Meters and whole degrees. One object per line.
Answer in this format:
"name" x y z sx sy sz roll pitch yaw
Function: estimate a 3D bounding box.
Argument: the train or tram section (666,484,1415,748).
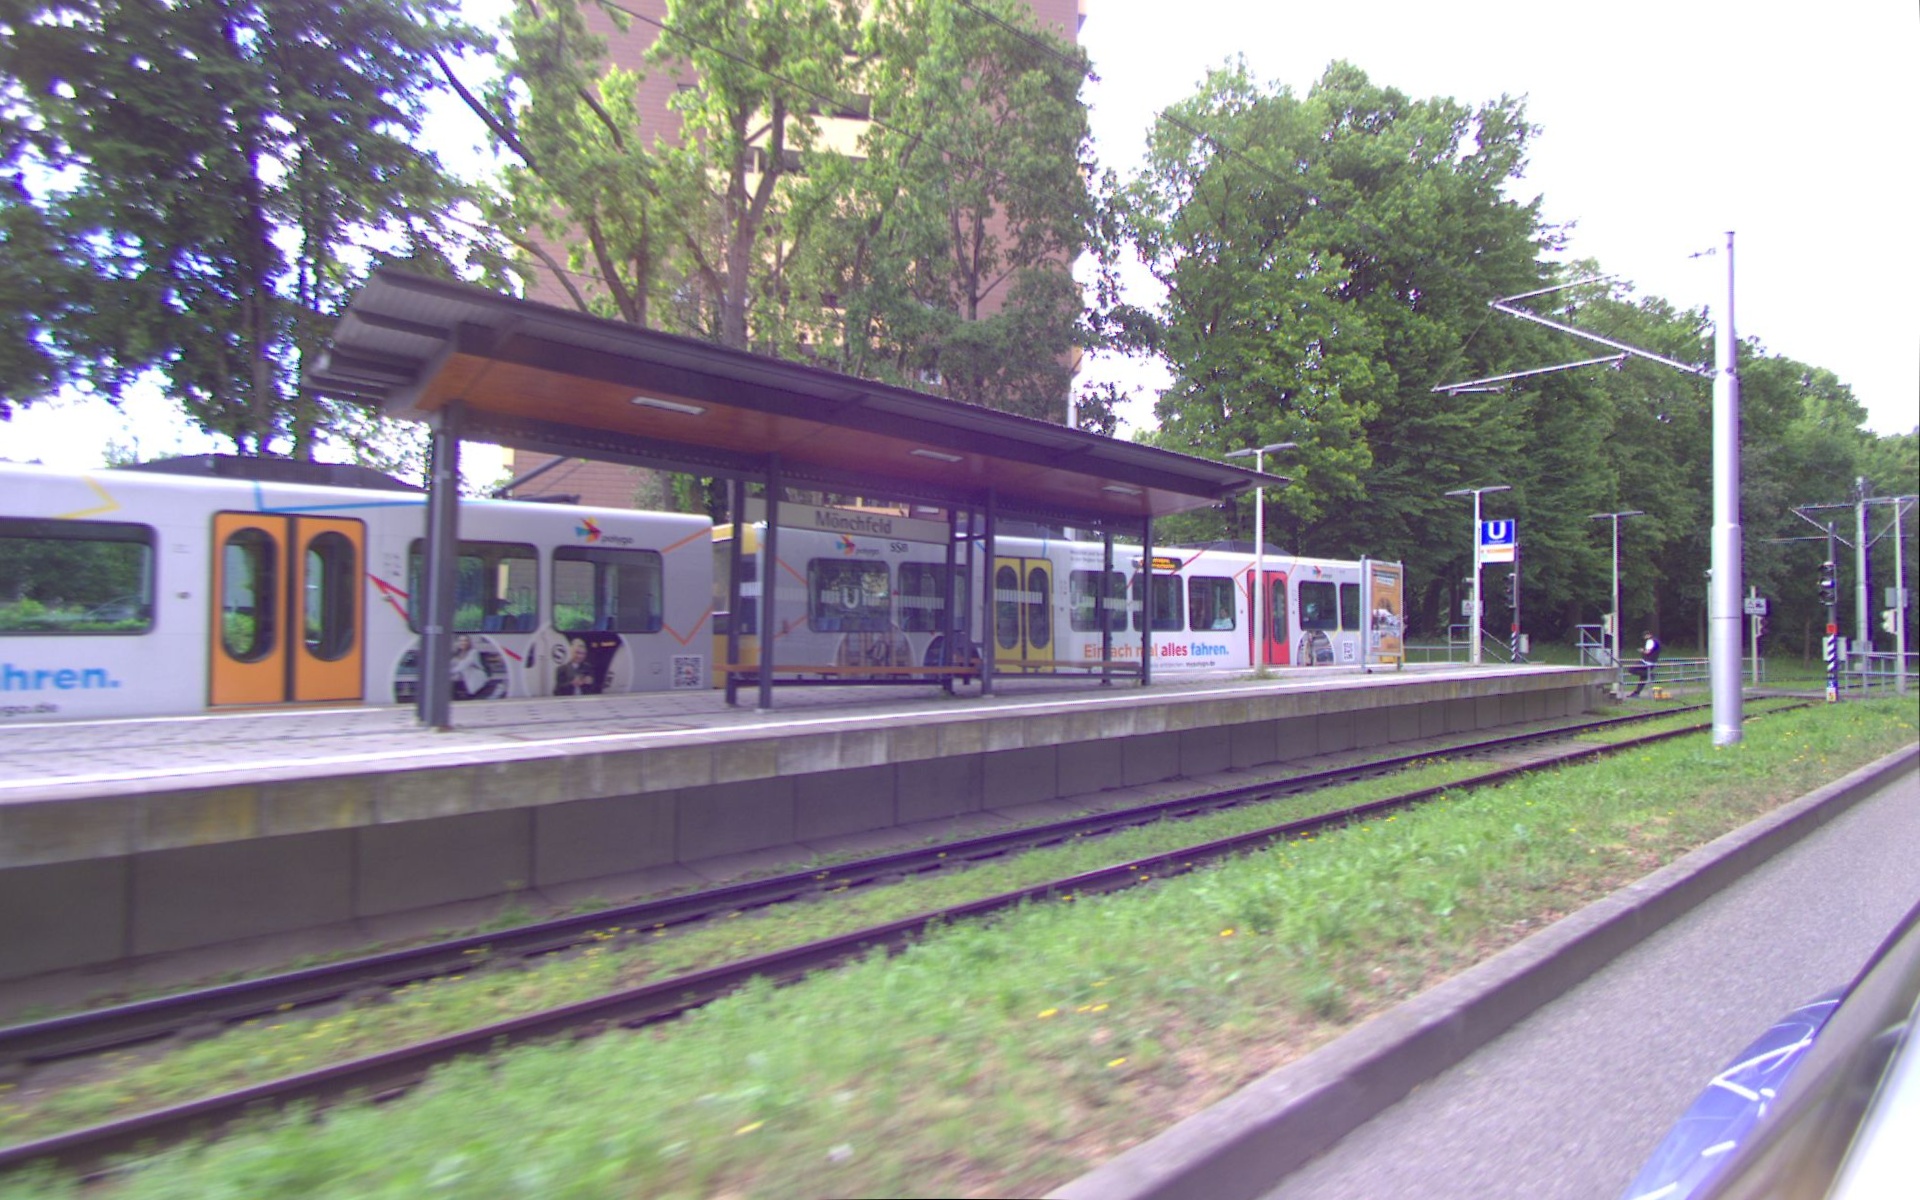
"train or tram section" 3.242 0.410 21.080 18.184 3.786 2.820 1 -3 -37

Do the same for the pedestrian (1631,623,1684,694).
"pedestrian" 18.169 1.517 26.362 0.983 1.781 0.718 -3 -4 44

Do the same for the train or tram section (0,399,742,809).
"train or tram section" -11.083 0.050 9.582 18.598 3.848 2.817 1 -3 -41
